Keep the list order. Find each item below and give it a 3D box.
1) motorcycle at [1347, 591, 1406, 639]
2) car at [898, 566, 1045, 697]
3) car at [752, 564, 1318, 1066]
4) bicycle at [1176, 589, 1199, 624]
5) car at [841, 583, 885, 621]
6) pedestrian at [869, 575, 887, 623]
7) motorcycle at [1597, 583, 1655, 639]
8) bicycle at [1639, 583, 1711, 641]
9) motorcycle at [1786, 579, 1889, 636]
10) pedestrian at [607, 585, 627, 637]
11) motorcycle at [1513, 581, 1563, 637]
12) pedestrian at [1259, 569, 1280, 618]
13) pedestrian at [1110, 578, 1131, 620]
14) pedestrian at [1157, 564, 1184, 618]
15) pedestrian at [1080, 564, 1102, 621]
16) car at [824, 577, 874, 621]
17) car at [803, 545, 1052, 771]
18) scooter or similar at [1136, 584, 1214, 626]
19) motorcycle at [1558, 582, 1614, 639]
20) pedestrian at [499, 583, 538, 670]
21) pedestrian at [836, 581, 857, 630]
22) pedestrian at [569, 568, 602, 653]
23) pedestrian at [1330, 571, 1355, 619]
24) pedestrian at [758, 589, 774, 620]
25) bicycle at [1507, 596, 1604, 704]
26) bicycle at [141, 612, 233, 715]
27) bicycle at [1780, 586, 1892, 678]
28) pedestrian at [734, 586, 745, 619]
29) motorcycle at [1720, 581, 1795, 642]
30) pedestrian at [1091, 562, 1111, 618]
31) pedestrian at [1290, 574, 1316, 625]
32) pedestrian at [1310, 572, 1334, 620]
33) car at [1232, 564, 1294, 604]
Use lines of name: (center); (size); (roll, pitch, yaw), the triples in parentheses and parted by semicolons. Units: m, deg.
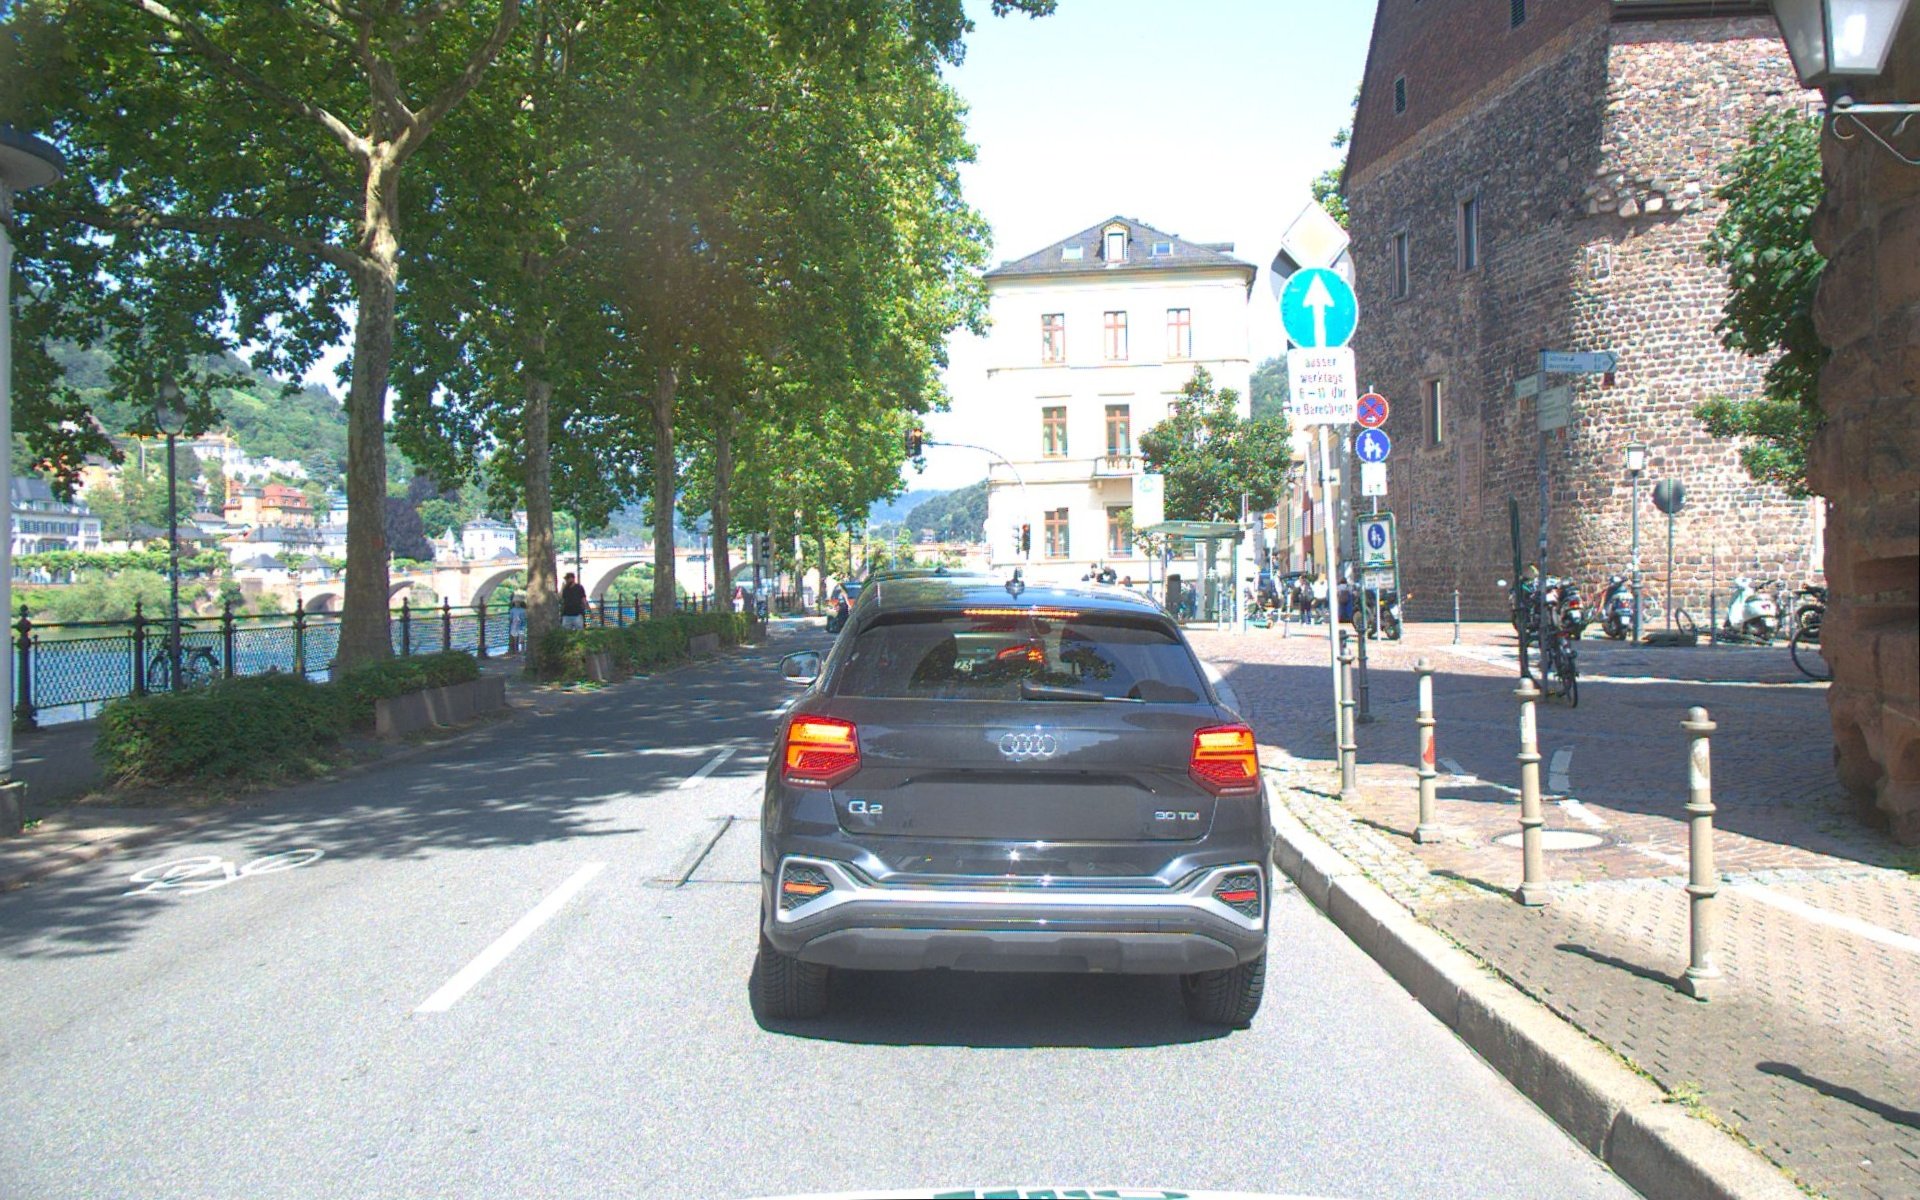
motorcycle: (7.661, 0.254, 30.513); (0.474, 0.832, 2.279); (-2, 1, 0)
car: (0.126, 0.373, 22.353); (1.764, 1.549, 3.715); (-2, 0, -1)
car: (0.175, 0.644, 6.865); (1.713, 1.520, 3.628); (1, 0, -2)
bicycle: (6.521, 0.177, 47.529); (0.441, 0.992, 1.399); (1, 0, 0)
car: (-4.179, 0.063, 71.616); (1.581, 1.549, 3.477); (-2, 0, 1)
pedestrian: (-2.768, -0.033, 55.861); (0.545, 1.585, 0.660); (1, 0, 0)
motorcycle: (12.171, 0.199, 30.273); (0.449, 0.990, 1.466); (1, 0, -1)
bicycle: (12.852, 0.208, 29.767); (0.395, 1.007, 1.825); (1, 0, -4)
motorcycle: (16.869, 0.143, 31.817); (1.659, 1.037, 0.500); (1, 0, 12)
pedestrian: (-10.361, 0.324, 50.012); (0.488, 1.564, 0.678); (2, 0, -8)
motorcycle: (10.564, 0.165, 30.252); (0.427, 0.990, 1.359); (1, 0, -1)
pedestrian: (10.630, -0.217, 56.836); (0.535, 1.663, 0.660); (1, 0, -3)
pedestrian: (4.699, -0.027, 48.462); (0.535, 1.222, 0.522); (1, 0, 0)
pedestrian: (6.274, -0.261, 49.347); (0.731, 1.585, 0.588); (1, 0, 0)
pedestrian: (3.677, -0.222, 46.532); (0.545, 1.585, 0.660); (1, 0, 0)
car: (-4.184, -0.052, 62.651); (1.581, 1.549, 3.477); (-2, 0, 1)
car: (-0.250, 0.411, 13.761); (1.764, 1.590, 3.715); (1, 0, -1)
scooter or similar: (5.196, 0.111, 40.017); (1.808, 0.980, 0.429); (1, 0, -2)
motorcycle: (11.356, 0.183, 30.043); (0.449, 0.990, 1.466); (1, 0, -1)
pedestrian: (-9.039, 0.539, 33.878); (0.632, 1.747, 0.665); (1, 0, -4)
pedestrian: (-3.859, 0.176, 56.111); (0.534, 1.628, 0.660); (1, 0, 10)
pedestrian: (-7.870, 0.228, 34.777); (0.552, 1.772, 0.664); (0, -2, -4)
pedestrian: (12.470, -0.149, 53.968); (0.644, 1.544, 0.627); (1, 0, 1)
pedestrian: (-8.138, 0.175, 69.414); (0.579, 1.301, 0.525); (1, 0, -1)
bicycle: (6.123, 0.485, 17.088); (0.485, 1.048, 2.052); (-1, 0, 7)
bicycle: (-9.577, 0.756, 20.536); (0.350, 1.182, 1.825); (-2, 0, -4)
bicycle: (10.636, 0.369, 20.154); (0.485, 1.048, 2.052); (1, 0, 7)
pedestrian: (-9.628, 0.118, 72.151); (0.401, 1.450, 0.457); (1, 0, -3)
motorcycle: (14.199, 0.197, 29.477); (0.488, 1.037, 1.701); (1, 0, -1)
pedestrian: (4.198, -0.300, 49.229); (0.545, 1.661, 0.660); (1, 0, 0)
pedestrian: (10.370, -0.004, 50.010); (0.644, 1.519, 0.548); (1, 0, 1)
pedestrian: (11.787, -0.128, 53.910); (0.644, 1.544, 0.548); (1, 0, 1)
car: (13.925, -0.744, 76.280); (1.954, 1.746, 3.998); (-1, 0, -3)
